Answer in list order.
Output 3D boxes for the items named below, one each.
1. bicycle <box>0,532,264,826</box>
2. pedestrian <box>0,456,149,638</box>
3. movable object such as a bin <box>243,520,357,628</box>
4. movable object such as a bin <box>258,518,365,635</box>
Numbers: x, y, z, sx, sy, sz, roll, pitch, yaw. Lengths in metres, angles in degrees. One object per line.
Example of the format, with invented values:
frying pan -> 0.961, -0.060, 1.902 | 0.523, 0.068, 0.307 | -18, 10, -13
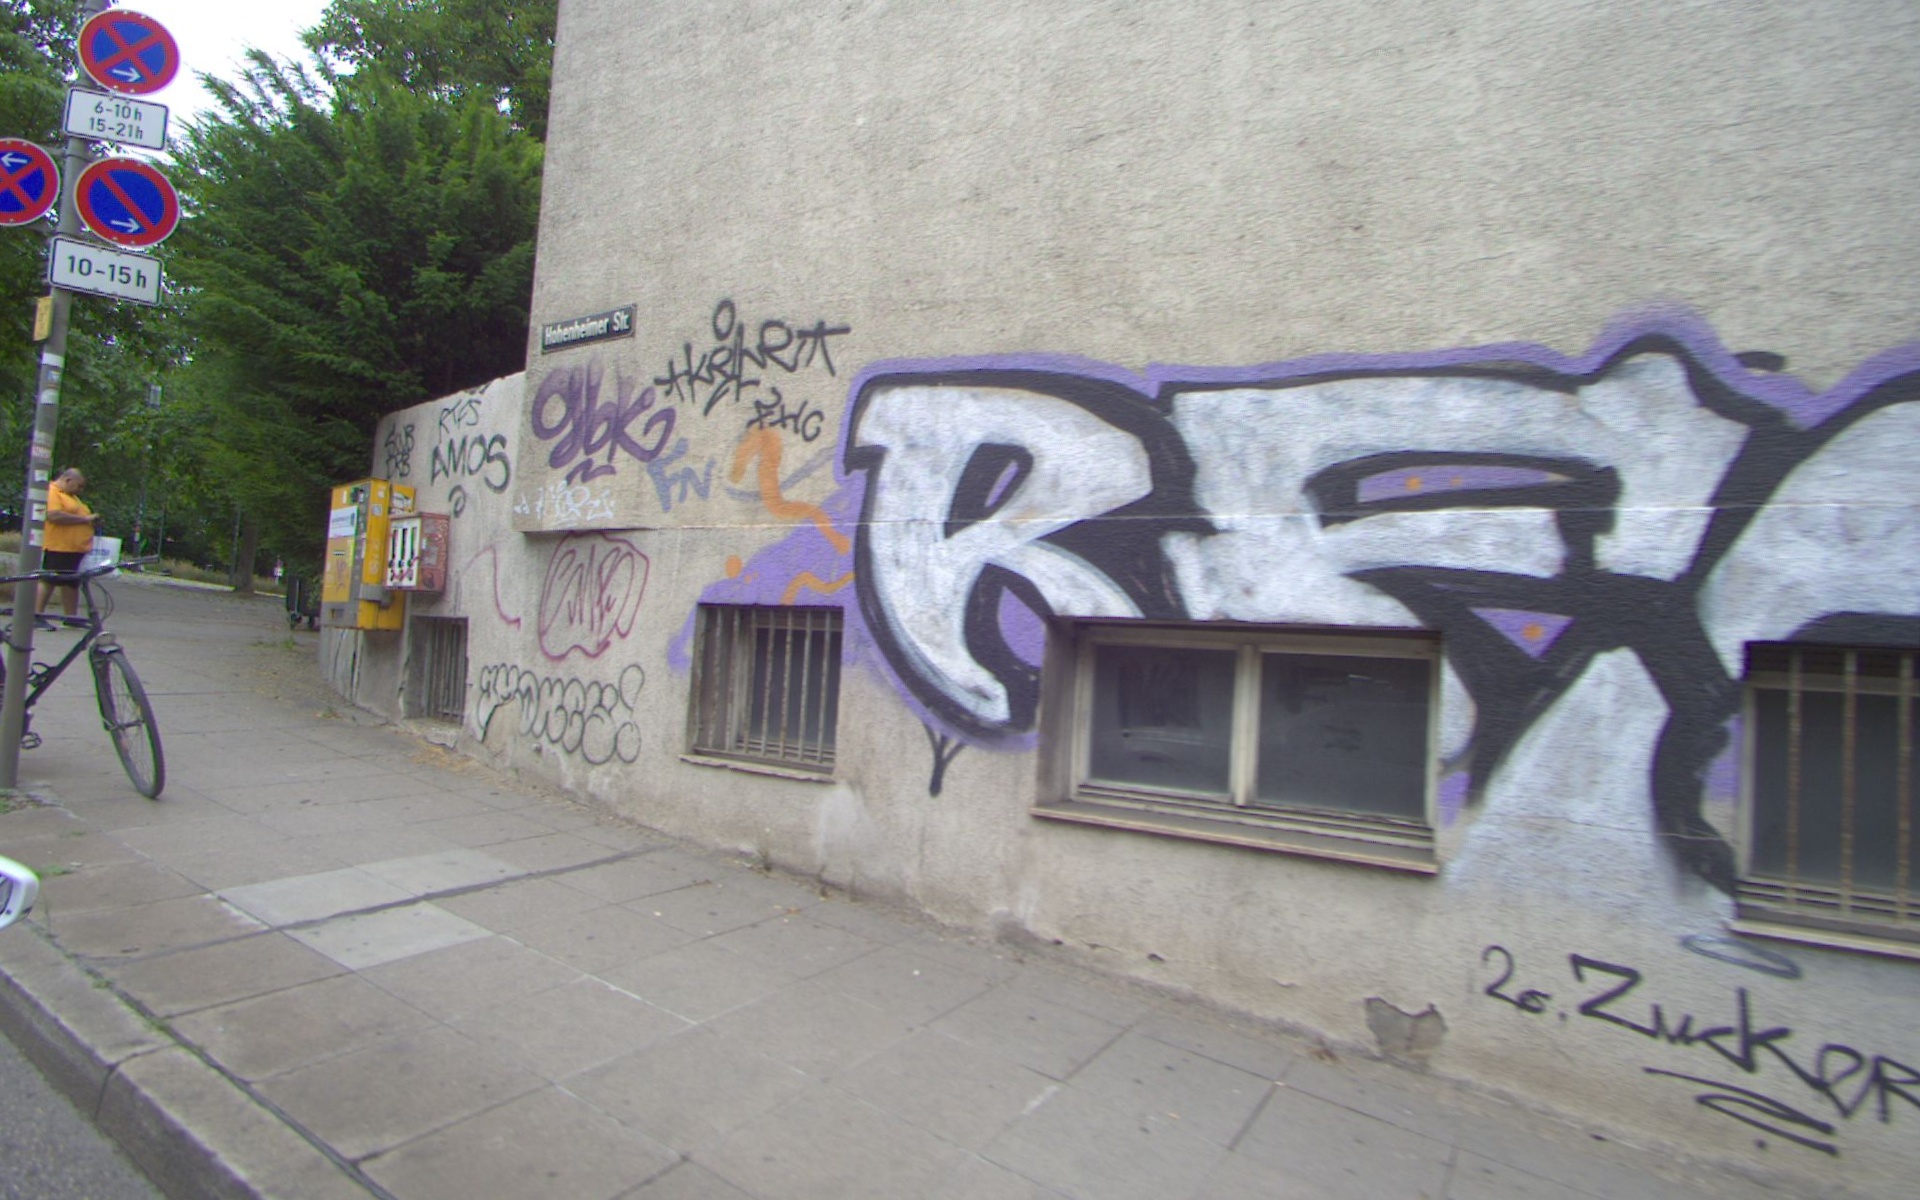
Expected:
bicycle -> -4.492, 0.275, 4.713 | 2.026, 1.157, 0.641 | 7, 0, 7
pedestrian -> -9.218, -0.521, 10.418 | 0.806, 1.733, 0.836 | 7, 0, 18
movable object such as a bin -> -10.538, -0.378, 16.113 | 0.829, 1.553, 1.259 | 8, -1, -2
movable object such as a bin -> -9.398, -0.322, 14.641 | 0.830, 1.554, 1.147 | 6, -1, -14
